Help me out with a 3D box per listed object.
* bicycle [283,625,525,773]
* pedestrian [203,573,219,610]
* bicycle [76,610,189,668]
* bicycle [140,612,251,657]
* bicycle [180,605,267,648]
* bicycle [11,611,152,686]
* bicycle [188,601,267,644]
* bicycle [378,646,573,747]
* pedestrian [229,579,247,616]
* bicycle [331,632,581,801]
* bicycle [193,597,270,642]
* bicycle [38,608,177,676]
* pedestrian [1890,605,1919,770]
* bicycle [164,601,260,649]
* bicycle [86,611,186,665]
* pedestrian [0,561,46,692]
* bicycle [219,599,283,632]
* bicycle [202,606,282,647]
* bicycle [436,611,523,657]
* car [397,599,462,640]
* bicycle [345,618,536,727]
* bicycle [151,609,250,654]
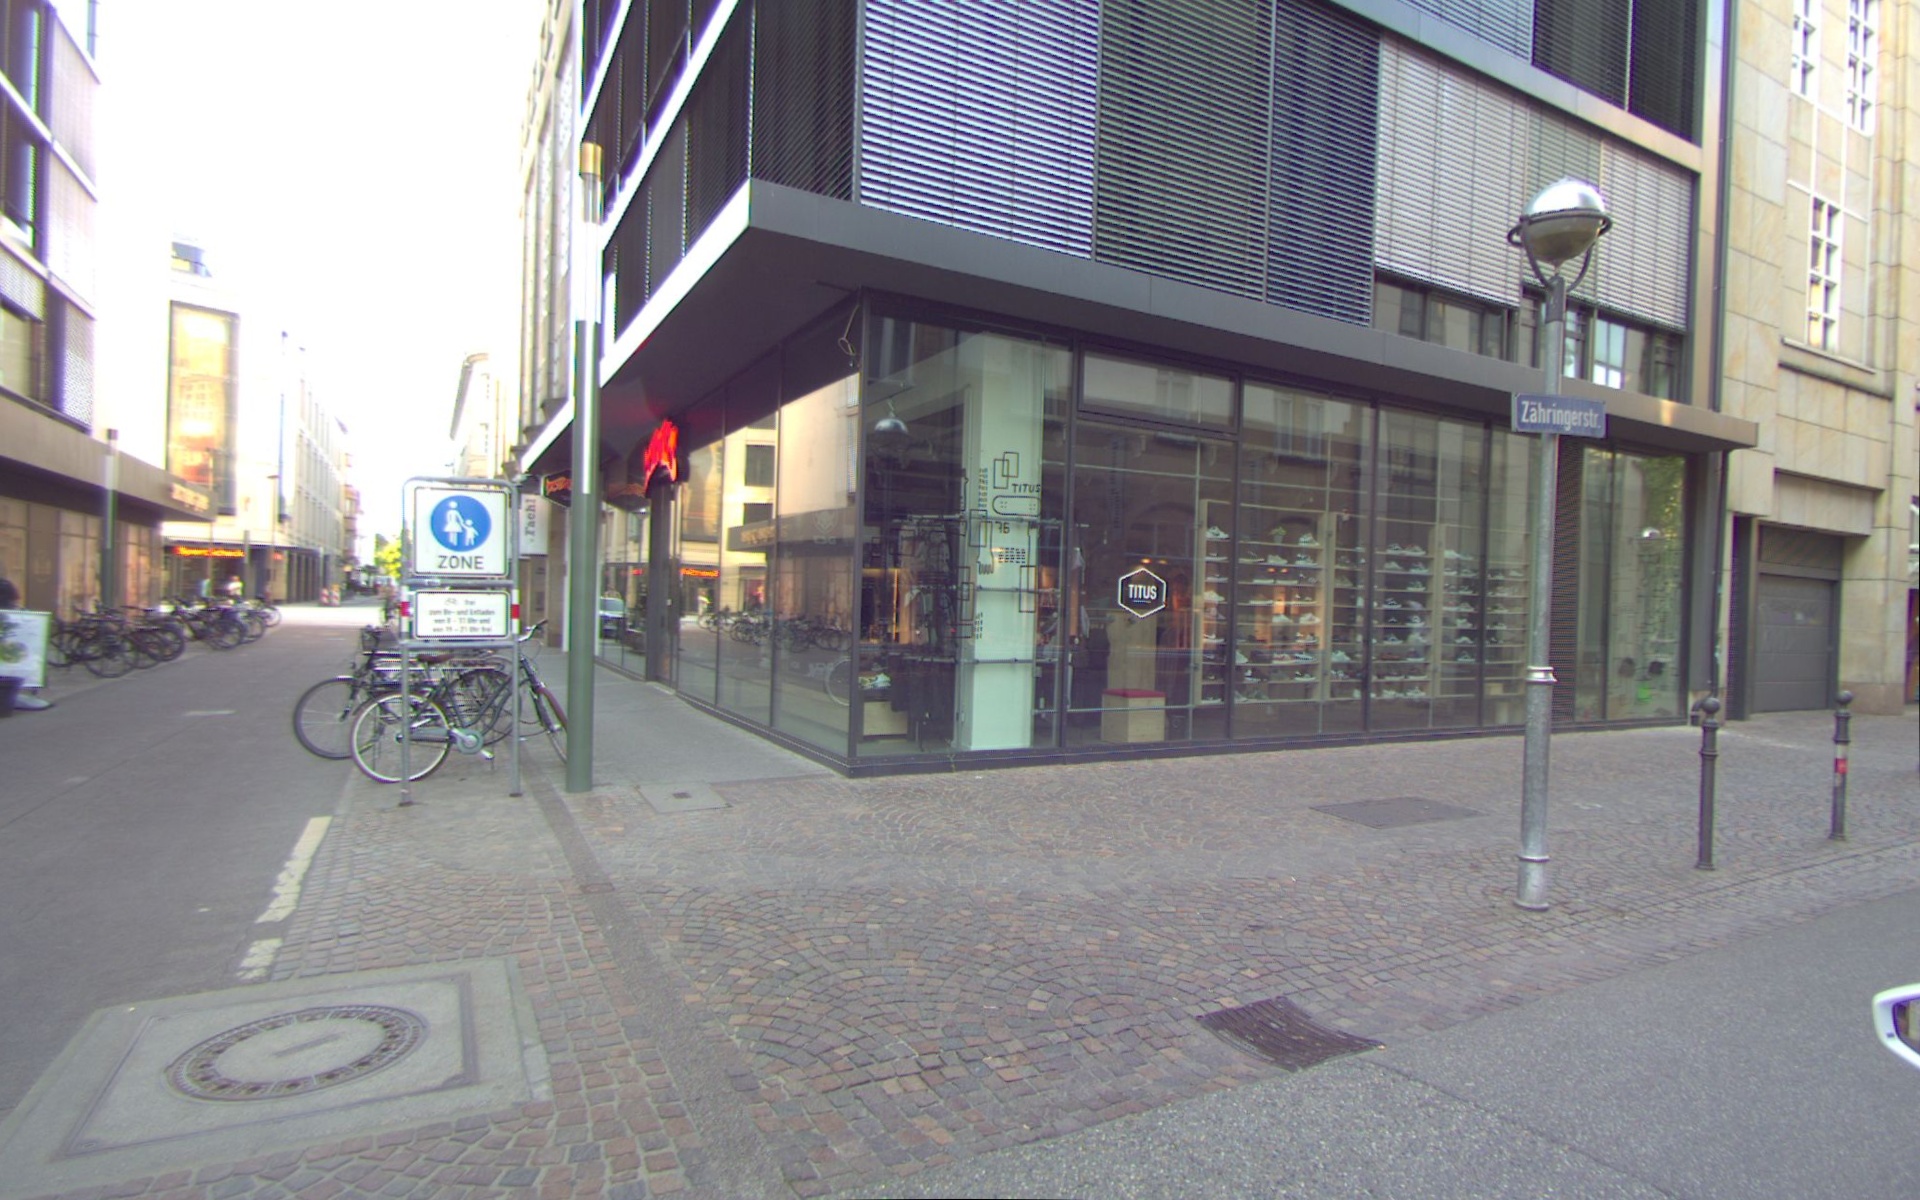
[{"bbox_3d":[-4.871,0.825,8.900,1.820,1.165,0.605,0,1,-30],"label":"bicycle"},{"bbox_3d":[-32.372,-0.384,43.416,0.475,1.573,0.429,1,0,-45],"label":"pedestrian"},{"bbox_3d":[-15.370,0.723,18.696,1.538,1.051,0.462,2,0,-30],"label":"bicycle"},{"bbox_3d":[-17.146,0.769,22.572,1.922,0.969,0.462,2,0,-30],"label":"bicycle"},{"bbox_3d":[-19.054,0.698,26.023,1.756,1.065,0.462,2,0,-30],"label":"bicycle"},{"bbox_3d":[-13.472,0.734,15.448,1.524,1.099,0.544,2,0,-30],"label":"bicycle"},{"bbox_3d":[-20.489,0.631,28.123,1.713,1.161,0.462,2,0,-30],"label":"bicycle"},{"bbox_3d":[-4.933,0.954,10.294,1.772,0.907,0.450,0,1,-30],"label":"bicycle"},{"bbox_3d":[-31.869,-0.104,44.324,0.372,1.594,0.478,1,0,10],"label":"pedestrian"},{"bbox_3d":[-3.845,0.839,7.734,1.654,1.128,0.704,0,1,-30],"label":"bicycle"},{"bbox_3d":[-20.908,0.563,28.856,1.713,1.245,0.462,2,0,-30],"label":"bicycle"},{"bbox_3d":[-14.516,0.713,17.156,1.708,1.106,0.544,2,0,-30],"label":"bicycle"},{"bbox_3d":[10.517,0.944,10.637,0.585,1.741,0.764,1,2,-30],"label":"pedestrian"},{"bbox_3d":[-18.489,0.615,24.867,1.827,1.151,0.462,2,0,-30],"label":"bicycle"},{"bbox_3d":[-16.147,0.748,19.727,1.438,1.019,0.462,2,0,-30],"label":"bicycle"},{"bbox_3d":[-13.622,0.356,14.183,0.950,1.809,0.739,1,0,26],"label":"pedestrian"},{"bbox_3d":[-24.026,0.517,34.075,1.713,1.076,0.433,2,0,-30],"label":"bicycle"},{"bbox_3d":[-19.394,0.717,27.166,1.713,1.065,0.462,2,0,-30],"label":"bicycle"},{"bbox_3d":[-10.997,0.776,23.031,1.773,1.028,0.365,0,1,-30],"label":"bicycle"},{"bbox_3d":[-17.295,0.618,32.866,1.606,1.238,3.466,2,0,-24],"label":"car"},{"bbox_3d":[-5.881,0.786,11.432,1.889,1.160,0.552,0,1,-30],"label":"bicycle"},{"bbox_3d":[-17.806,0.735,23.583,1.774,1.021,0.527,2,0,-30],"label":"bicycle"}]
